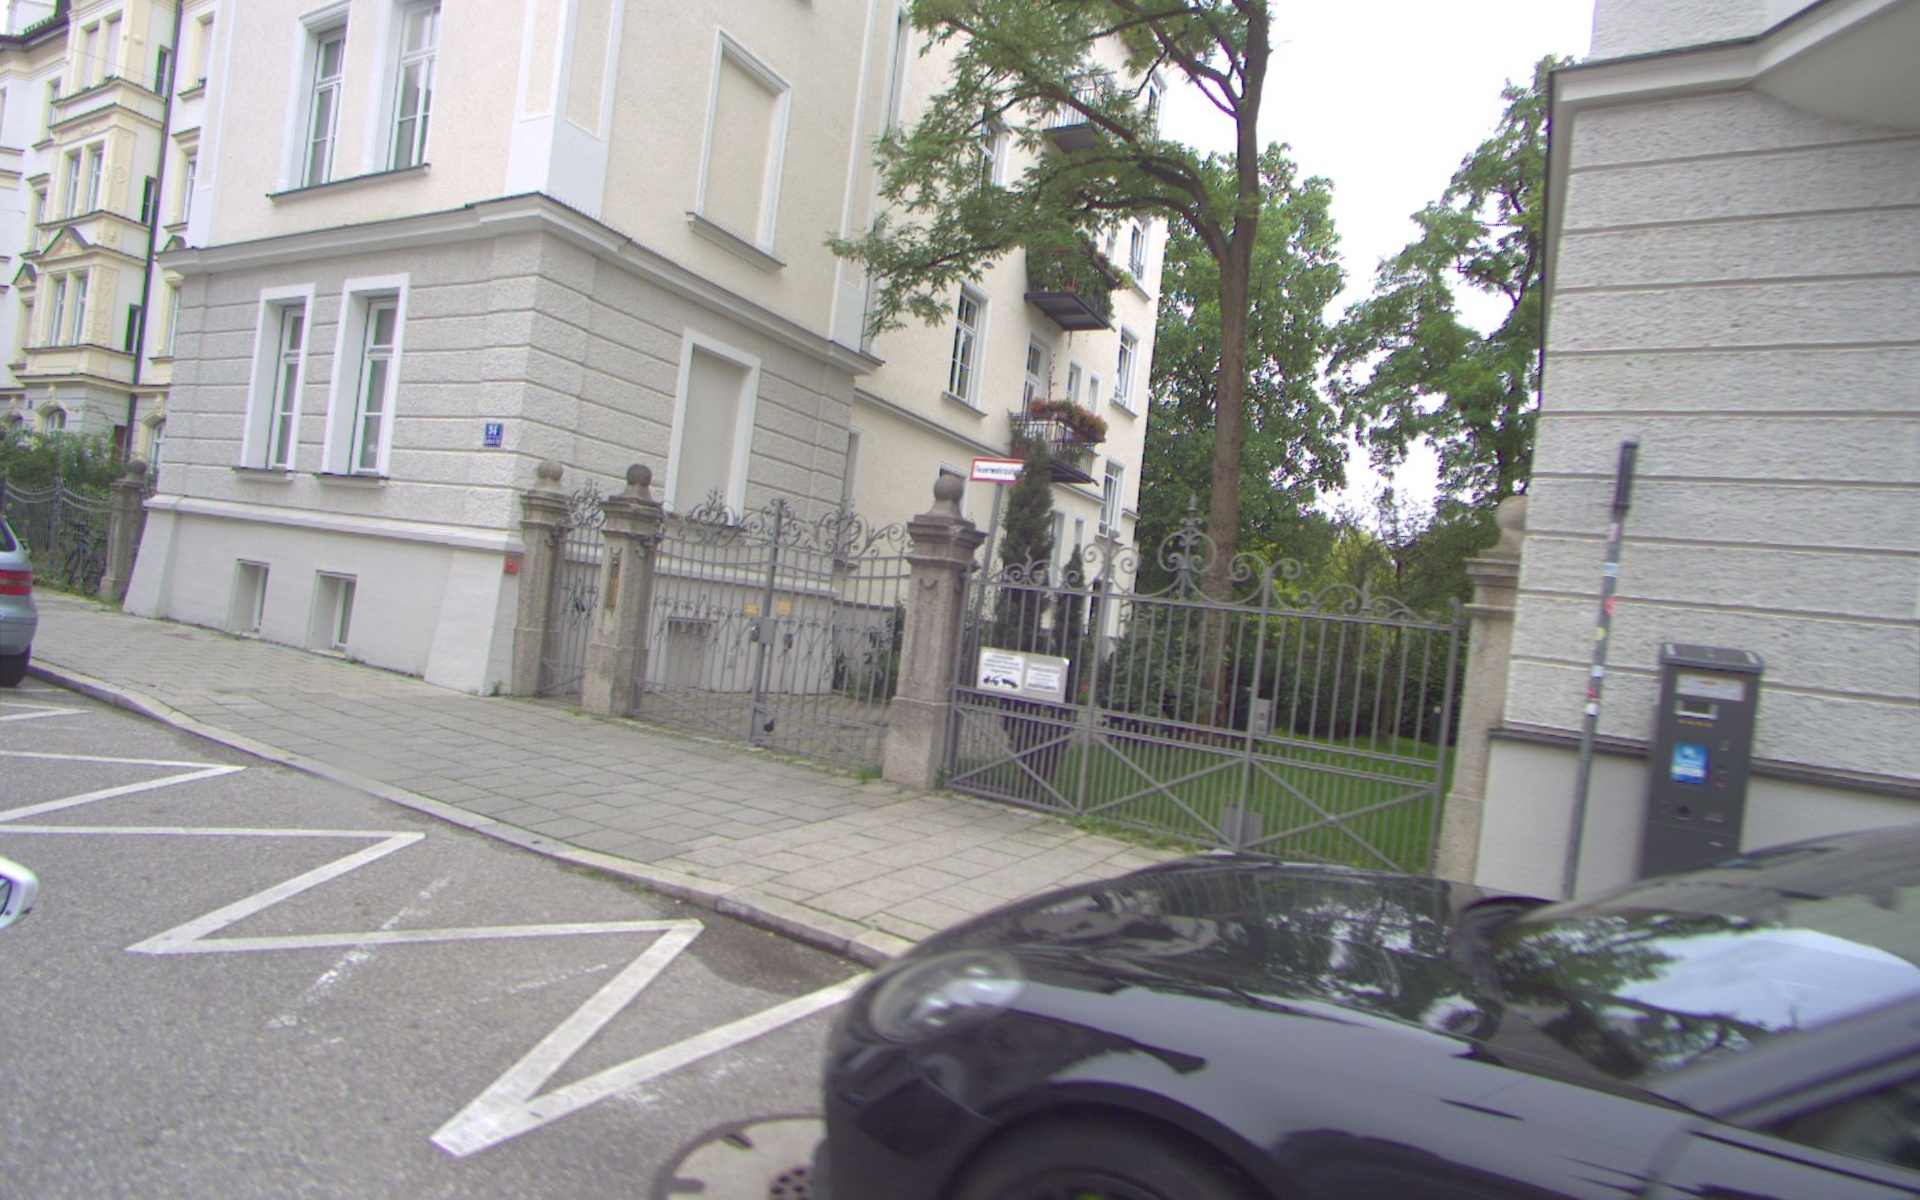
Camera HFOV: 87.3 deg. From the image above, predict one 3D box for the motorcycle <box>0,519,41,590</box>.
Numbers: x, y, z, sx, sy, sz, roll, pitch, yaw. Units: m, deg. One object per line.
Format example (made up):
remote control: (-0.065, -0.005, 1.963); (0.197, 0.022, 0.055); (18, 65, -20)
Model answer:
motorcycle: (-16.644, -0.835, 17.402); (1.933, 1.126, 0.607); (6, 0, 34)

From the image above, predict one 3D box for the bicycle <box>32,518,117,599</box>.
bicycle: (-14.487, -0.687, 16.439); (1.850, 1.139, 0.434); (6, 0, 32)

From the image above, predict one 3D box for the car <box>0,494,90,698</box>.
car: (-9.620, -0.301, 8.752); (4.329, 1.586, 1.826); (7, -3, 33)

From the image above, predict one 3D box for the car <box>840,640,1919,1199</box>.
car: (2.298, 1.100, 1.520); (4.632, 1.475, 1.997); (6, -1, 29)
